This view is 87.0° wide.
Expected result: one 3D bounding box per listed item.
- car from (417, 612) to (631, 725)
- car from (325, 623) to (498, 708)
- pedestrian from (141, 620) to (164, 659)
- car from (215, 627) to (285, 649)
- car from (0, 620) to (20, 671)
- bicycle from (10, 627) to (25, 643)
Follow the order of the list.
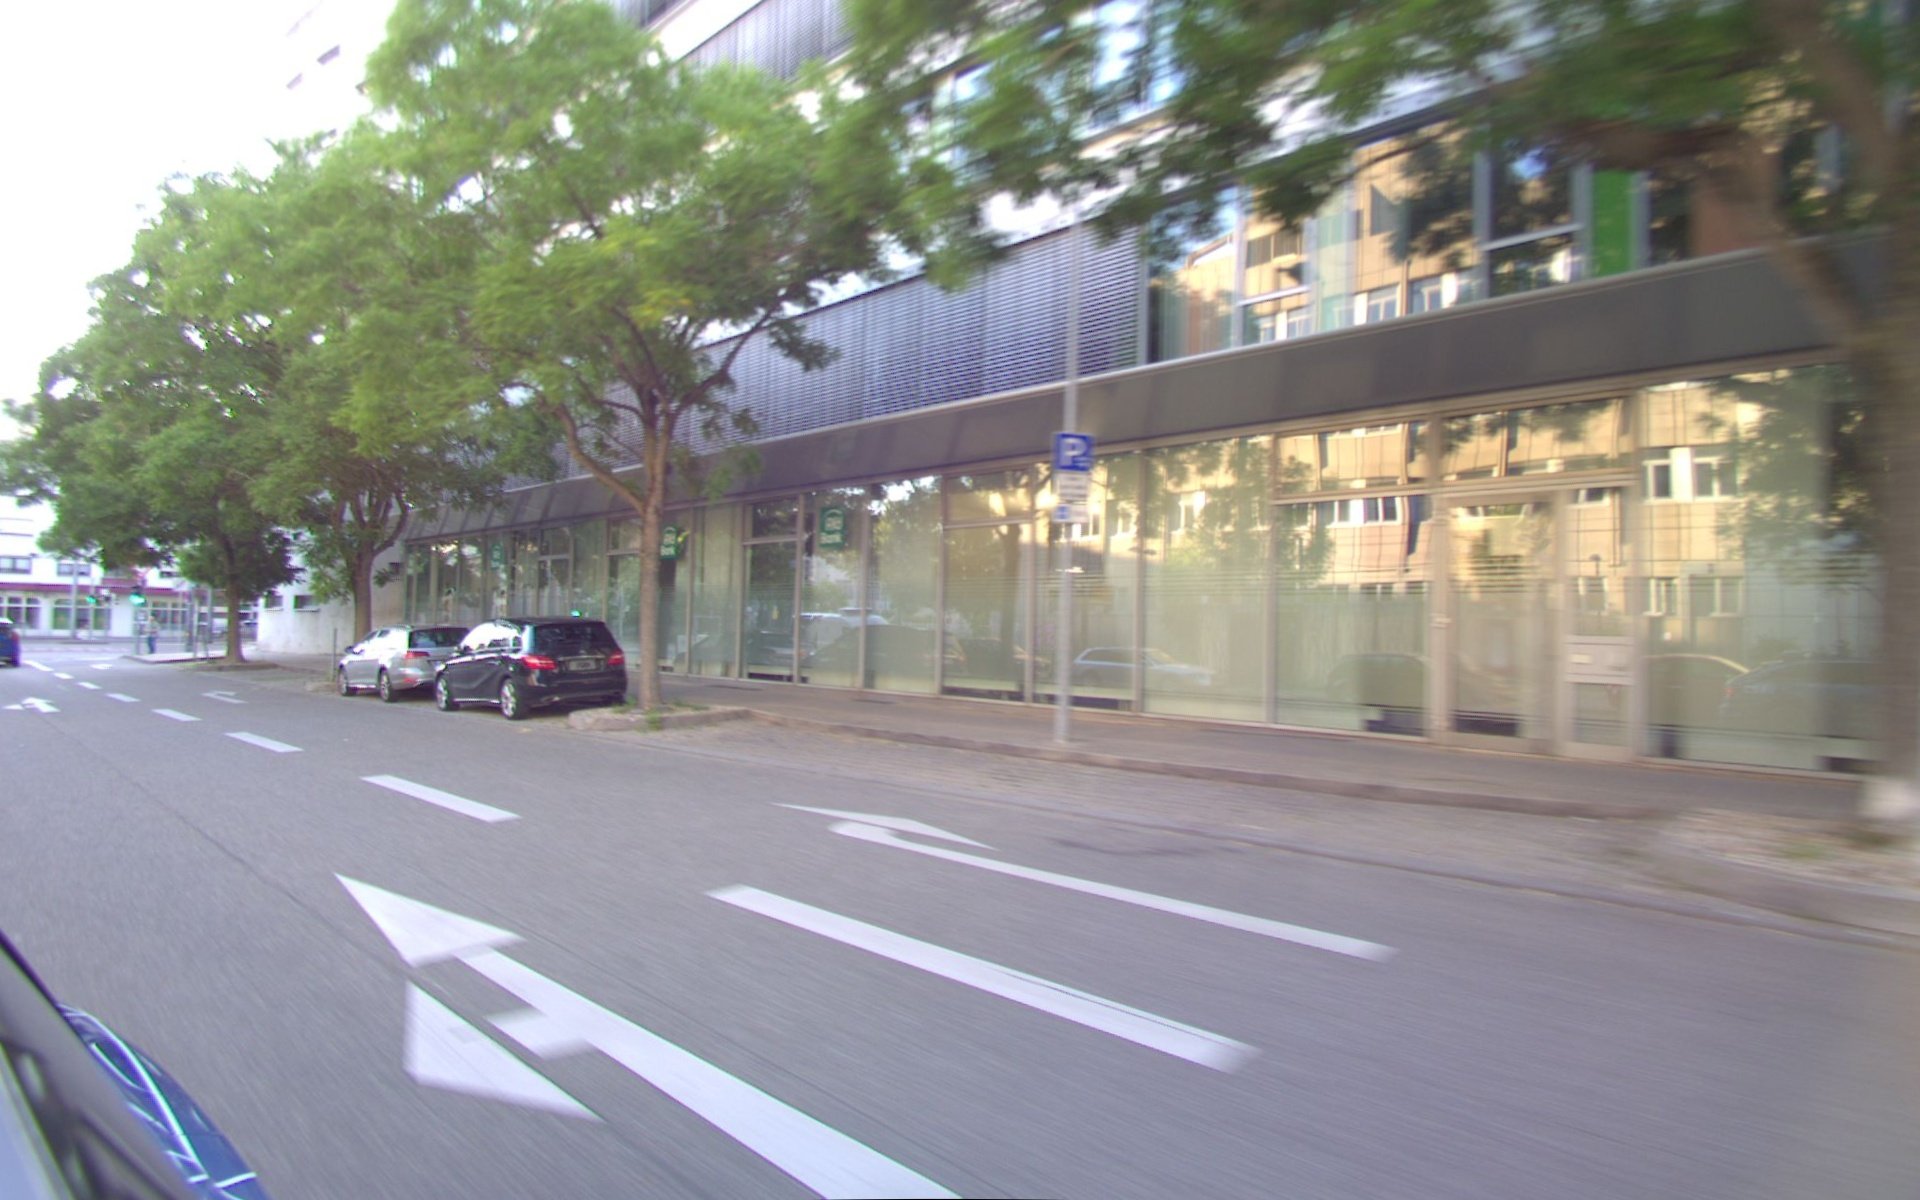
[{"bbox_3d":[-7.268,1.026,16.616,4.472,1.580,1.572,-1,0,43],"label":"car"},{"bbox_3d":[-11.103,1.227,20.339,4.627,1.472,1.684,-1,0,43],"label":"car"},{"bbox_3d":[-36.259,1.769,45.457,0.537,1.714,0.710,2,-2,-19],"label":"pedestrian"},{"bbox_3d":[-53.570,2.883,76.432,1.666,1.608,4.043,-1,-3,43],"label":"car"},{"bbox_3d":[-33.411,1.517,34.510,4.274,1.691,1.728,-1,-2,44],"label":"car"},{"bbox_3d":[-65.593,2.426,70.436,1.902,1.054,0.508,-1,-3,41],"label":"bicycle"}]
